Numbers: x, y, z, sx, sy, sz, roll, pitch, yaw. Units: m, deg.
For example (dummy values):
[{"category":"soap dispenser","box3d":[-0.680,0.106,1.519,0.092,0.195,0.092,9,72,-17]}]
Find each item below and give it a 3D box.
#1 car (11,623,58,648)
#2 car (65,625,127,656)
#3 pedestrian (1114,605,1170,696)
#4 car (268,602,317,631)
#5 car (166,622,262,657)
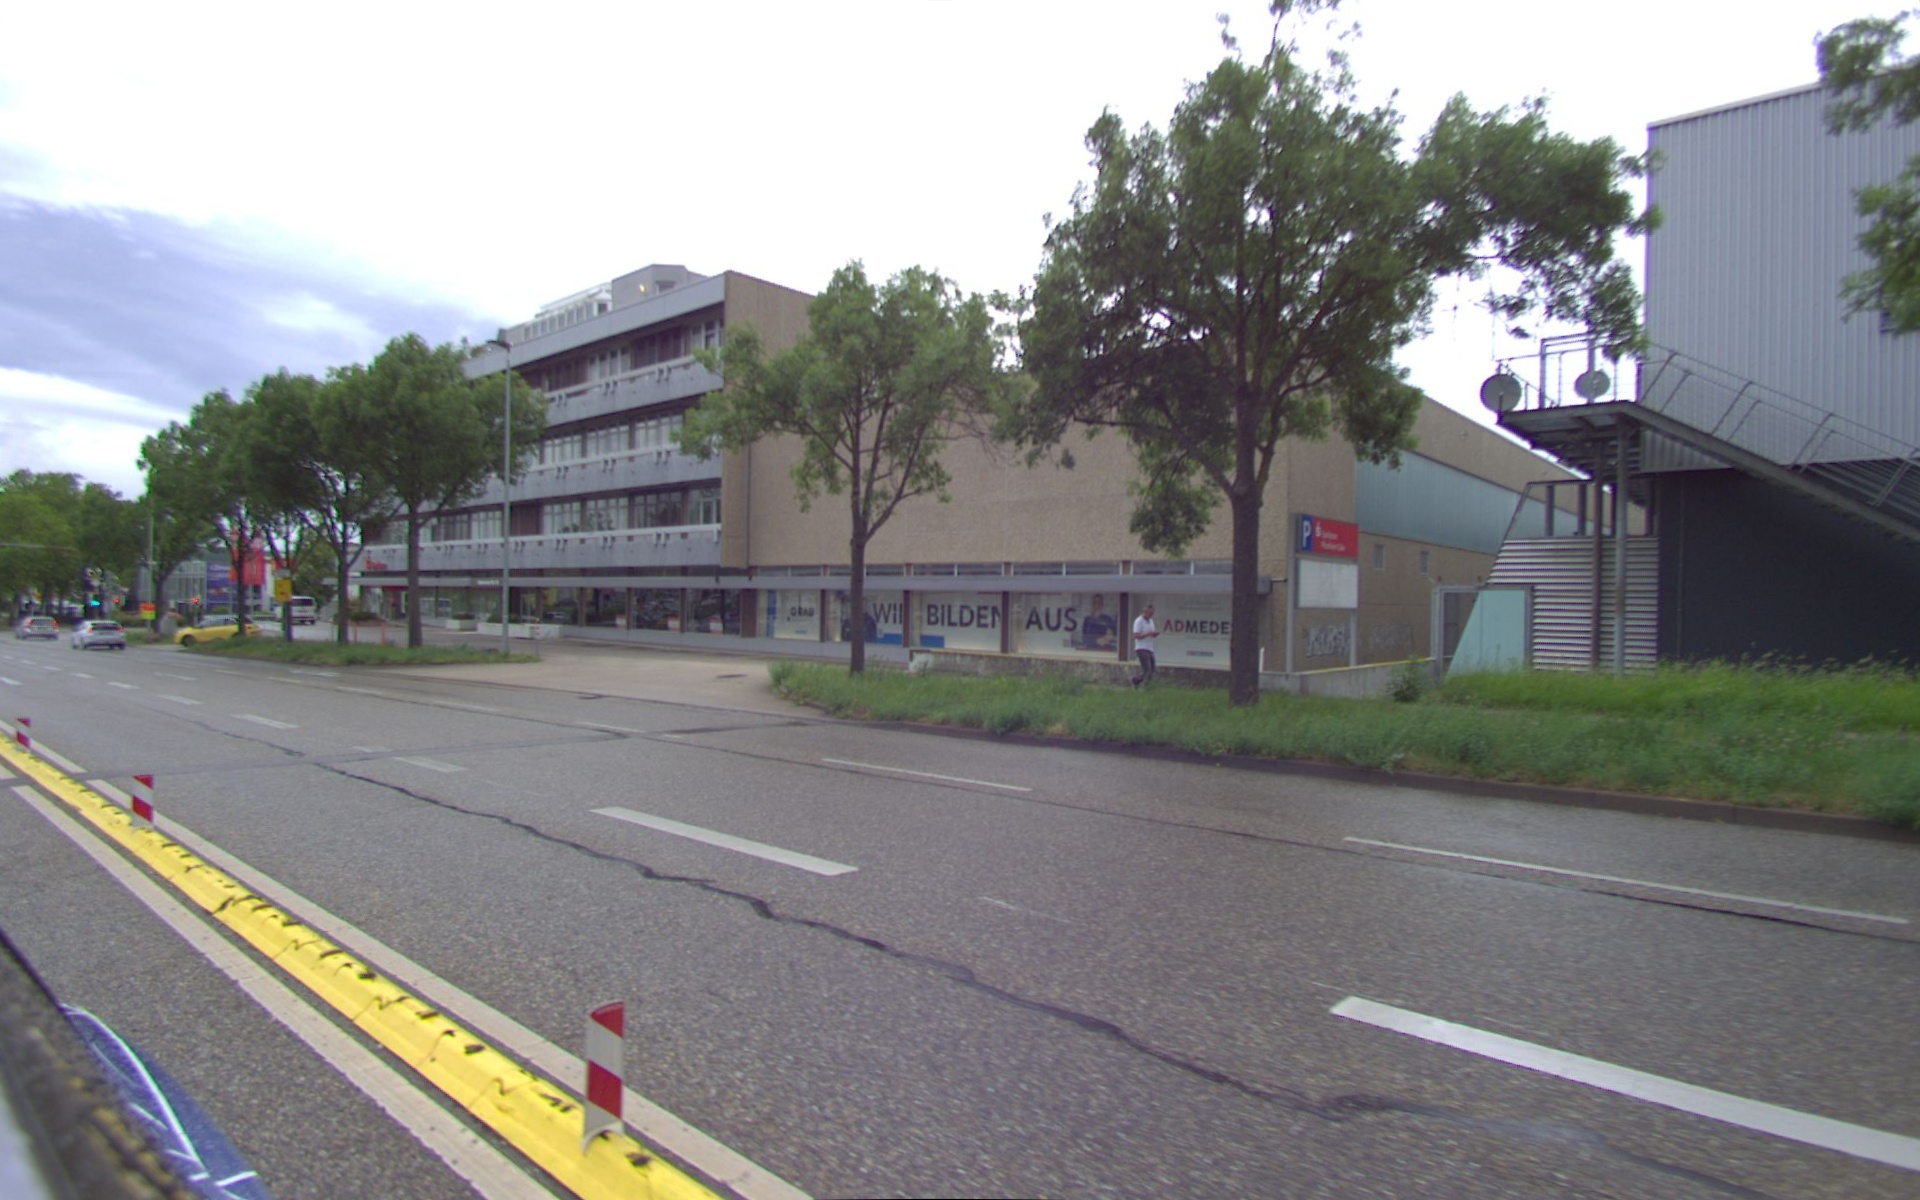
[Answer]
[{"category":"car","box3d":[-61.036,2.303,66.709,4.780,1.564,1.722,-1,-3,41]},{"category":"car","box3d":[-43.380,2.023,50.761,4.467,1.417,1.722,0,-2,42]},{"category":"pedestrian","box3d":[3.309,0.896,18.403,0.767,1.595,0.578,-1,0,43]},{"category":"car","box3d":[-49.076,1.203,74.330,1.970,2.029,4.888,5,-4,-44]},{"category":"car","box3d":[-39.134,2.037,53.185,3.649,1.520,1.627,-3,3,-15]}]
